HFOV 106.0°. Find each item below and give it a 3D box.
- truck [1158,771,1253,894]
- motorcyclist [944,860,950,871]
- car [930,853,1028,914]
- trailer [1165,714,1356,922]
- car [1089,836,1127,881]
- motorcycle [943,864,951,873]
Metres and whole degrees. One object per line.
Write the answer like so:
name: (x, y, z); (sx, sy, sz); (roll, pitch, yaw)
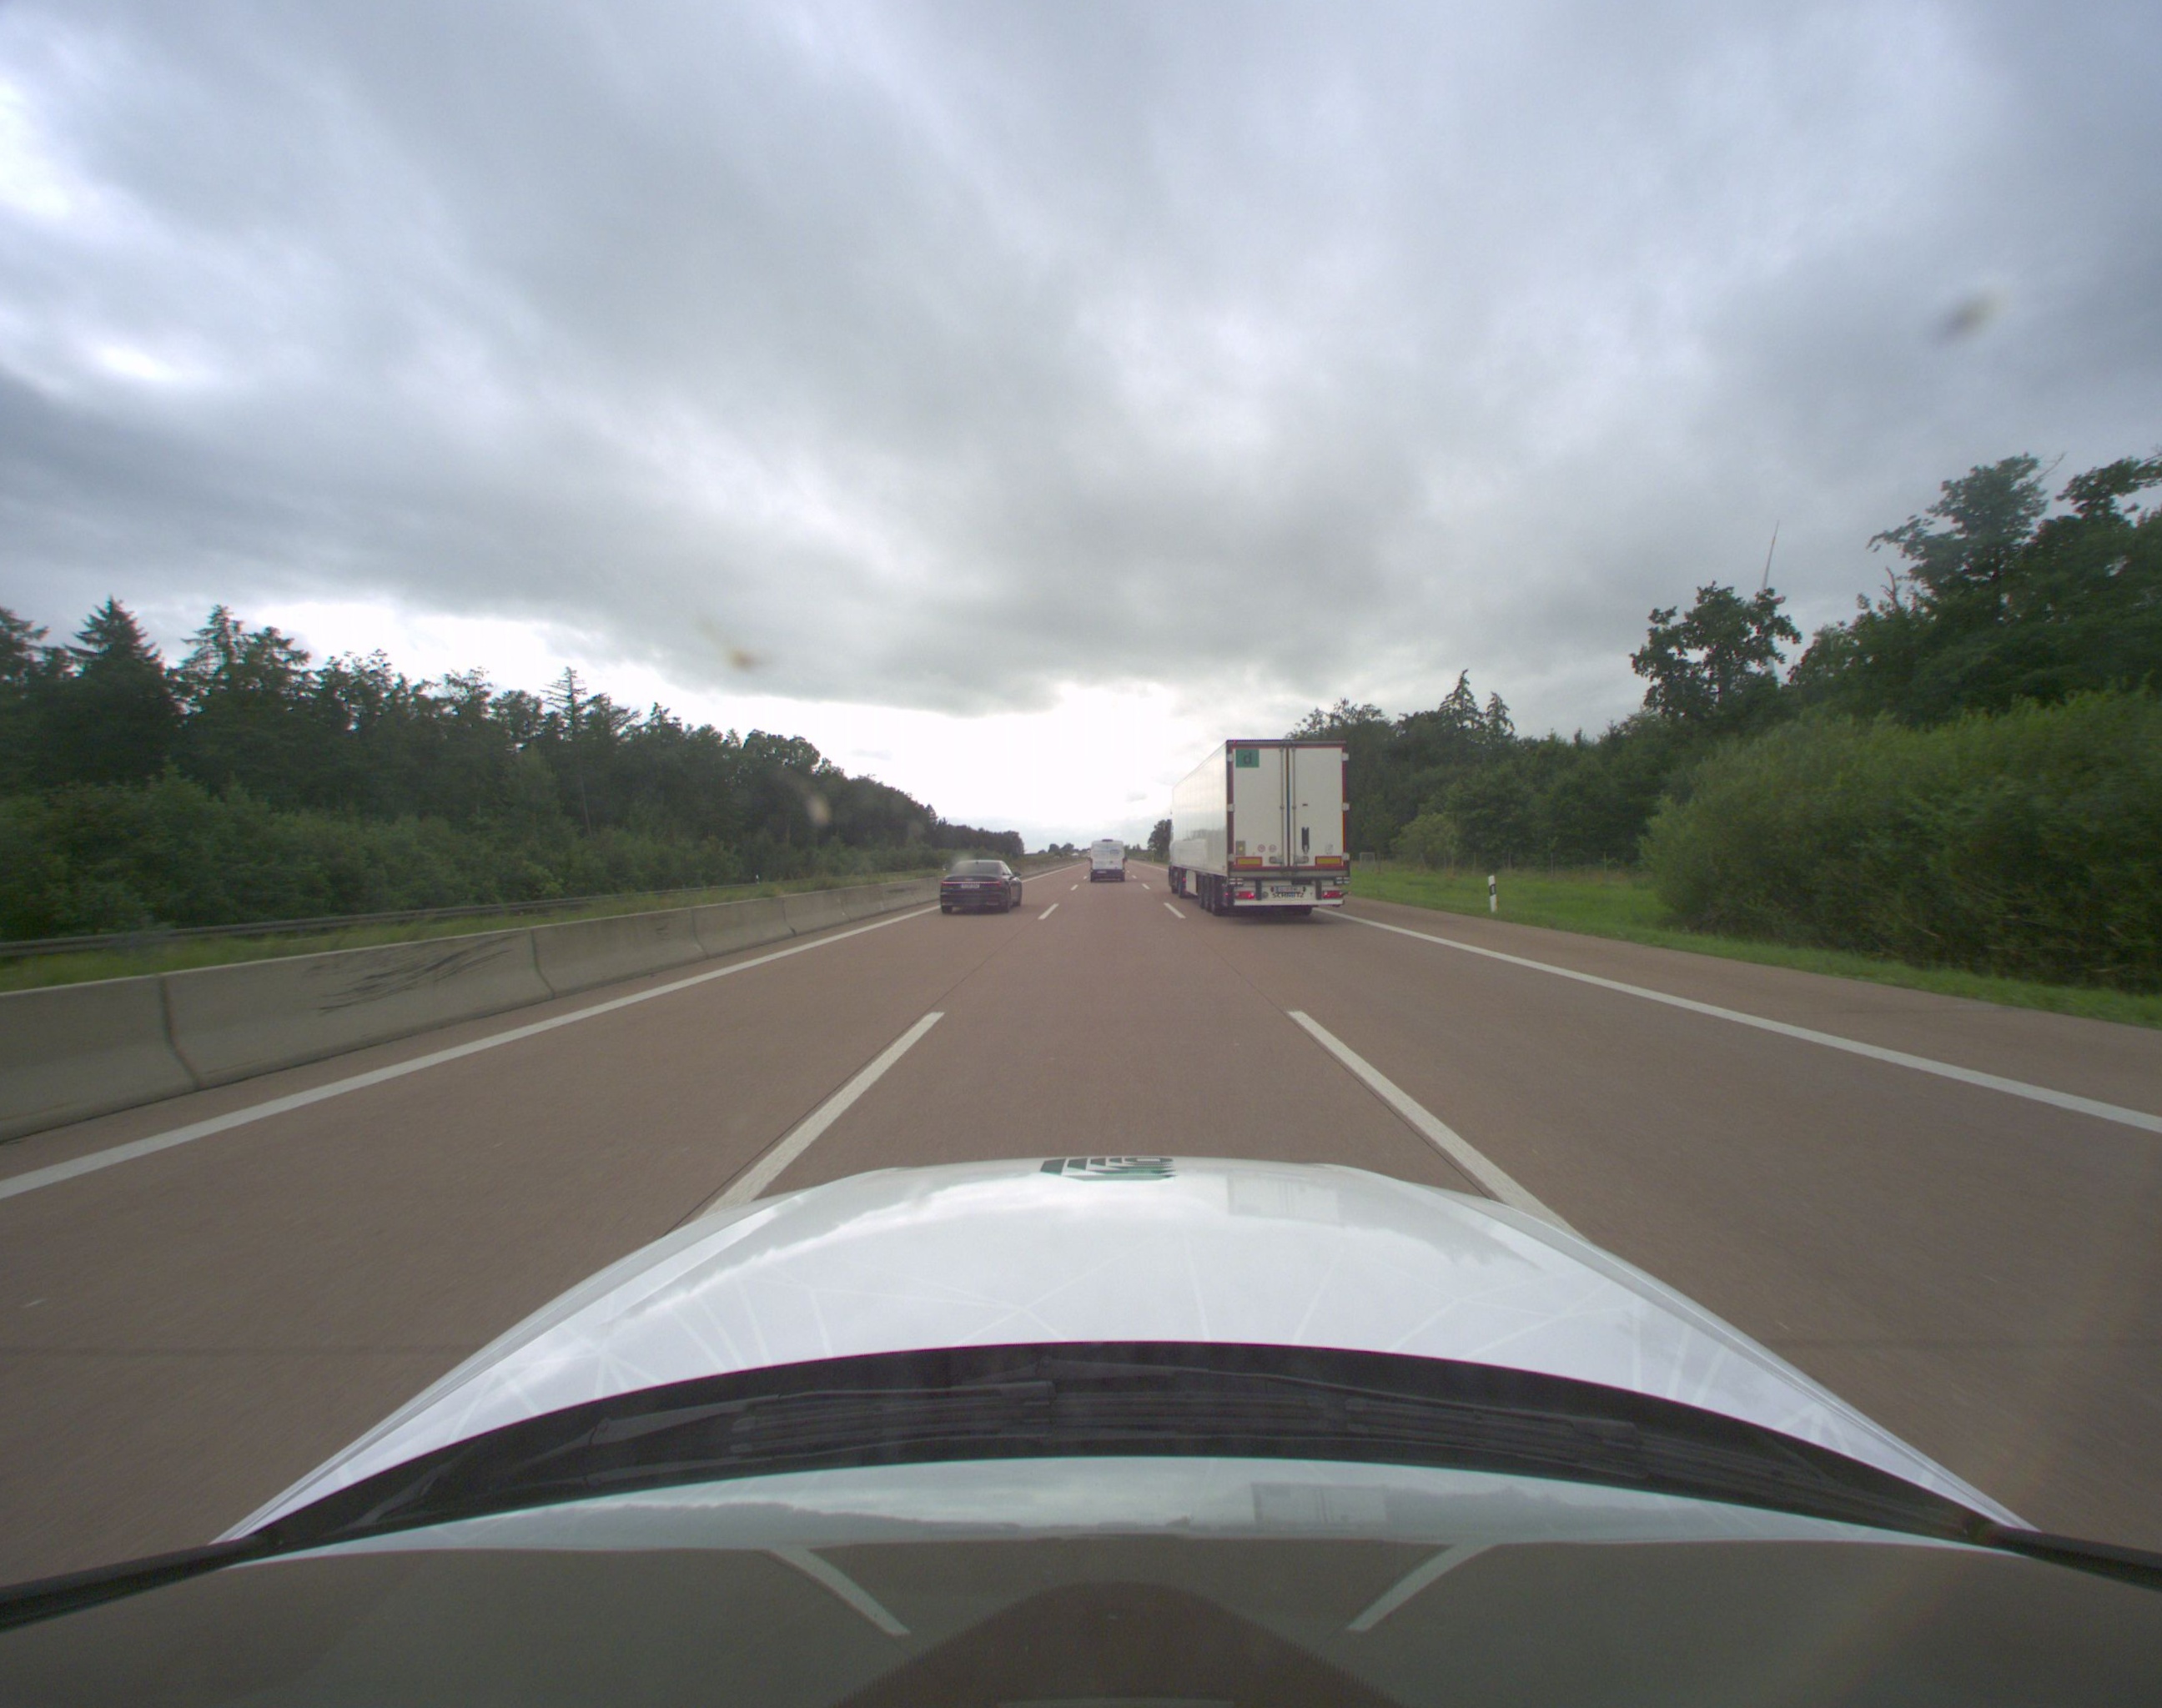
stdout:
truck: (4.656, -0.757, 31.389); (2.911, 4.294, 5.336); (-1, 0, 1)
motorcyclist: (-16.409, 1.400, 99.498); (0.592, 1.283, 0.802); (0, 0, 1)
car: (-2.815, 0.754, 23.883); (2.078, 1.550, 5.675); (0, 0, 1)
trailer: (4.444, -0.736, 23.824); (2.910, 4.294, 13.618); (-1, 0, 2)
car: (1.672, 0.242, 49.505); (2.129, 2.507, 7.135); (-1, 0, 2)
motorcycle: (-16.406, 1.755, 99.581); (0.598, 1.155, 2.155); (0, 0, 2)
